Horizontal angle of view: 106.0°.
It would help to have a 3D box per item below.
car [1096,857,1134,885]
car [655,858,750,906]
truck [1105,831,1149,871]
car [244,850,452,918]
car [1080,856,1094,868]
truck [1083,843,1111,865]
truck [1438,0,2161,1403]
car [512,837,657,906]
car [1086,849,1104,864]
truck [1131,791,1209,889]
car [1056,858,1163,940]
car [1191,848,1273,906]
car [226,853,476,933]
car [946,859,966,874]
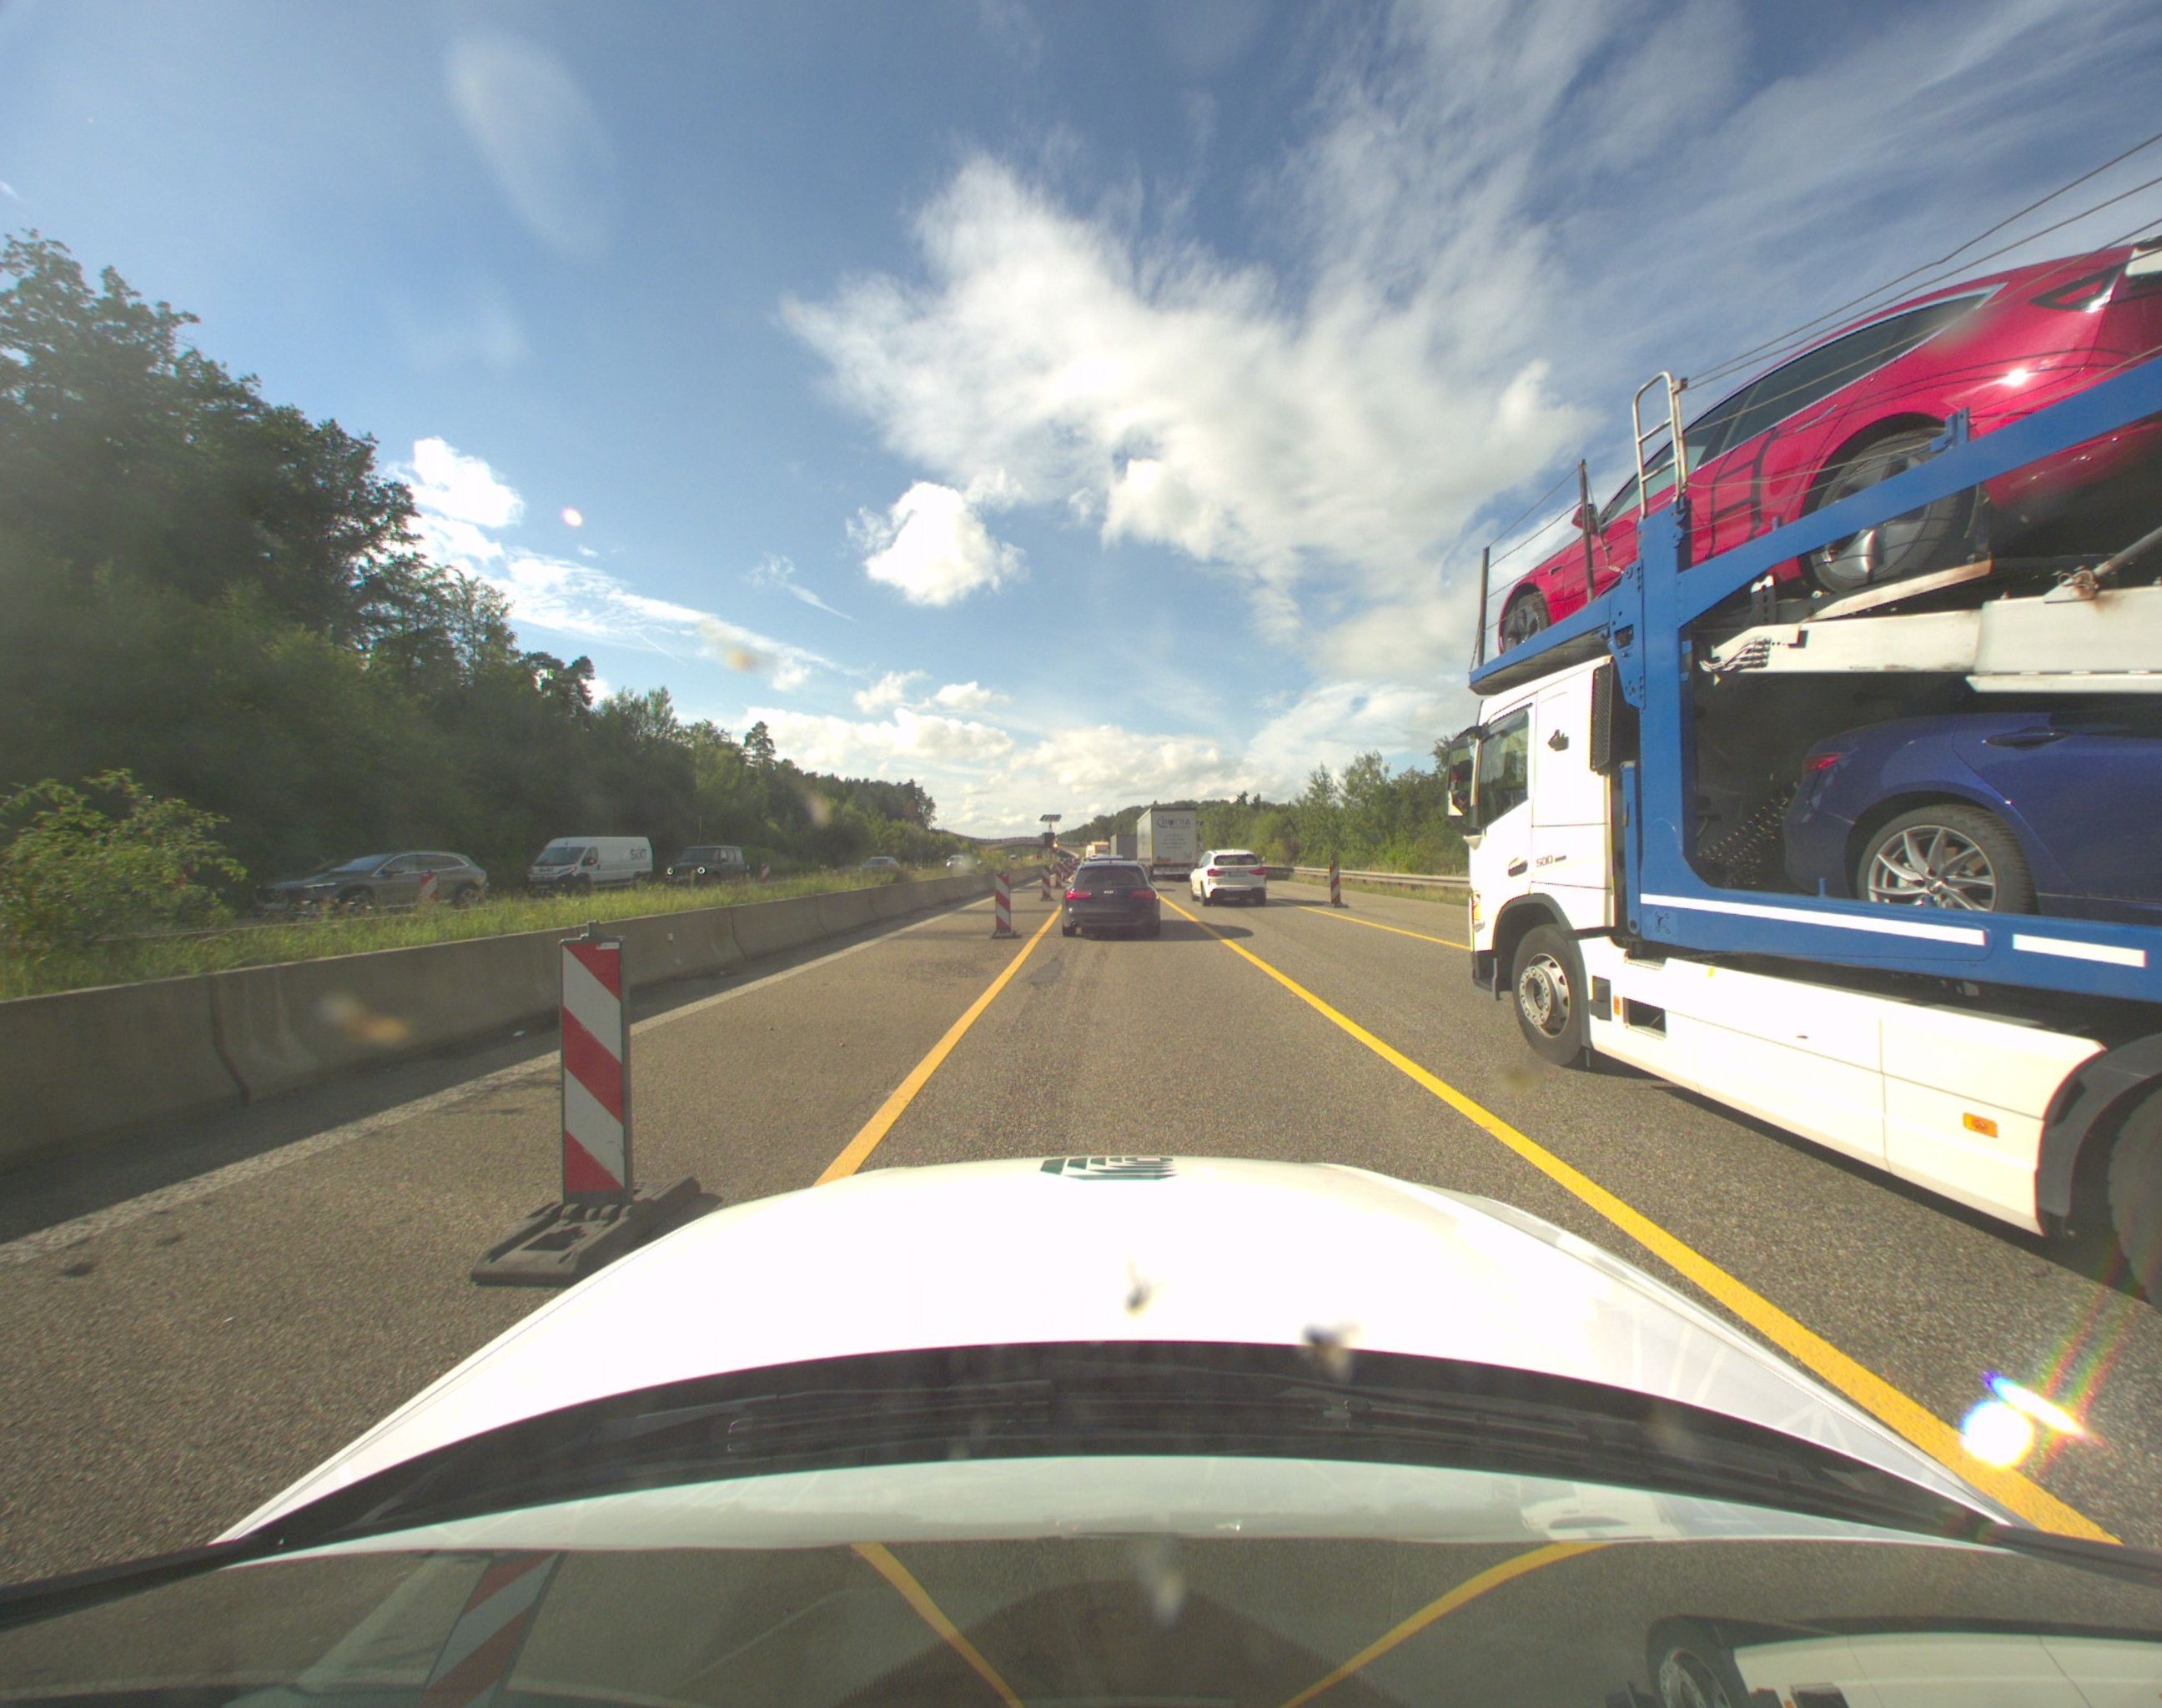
[{"bbox_3d":[1.850,0.912,44.923,1.884,1.446,3.999,0,-1,-1],"label":"car"},{"bbox_3d":[-16.126,1.139,34.990,1.771,1.902,4.619,0,-1,2],"label":"car"},{"bbox_3d":[5.421,-0.314,98.525,4.309,4.600,11.113,0,-1,-2],"label":"truck"},{"bbox_3d":[-21.860,0.836,24.628,1.853,1.853,4.763,0,-1,2],"label":"car"},{"bbox_3d":[0.990,1.384,143.096,1.991,2.014,3.992,0,-1,-6],"label":"car"},{"bbox_3d":[2.965,0.063,156.611,3.652,3.928,11.034,0,-1,-8],"label":"truck"},{"bbox_3d":[4.833,-0.611,3.048,3.746,4.196,7.955,0,-1,2],"label":"truck"},{"bbox_3d":[-20.959,0.709,34.833,2.020,2.684,6.525,0,-1,2],"label":"car"},{"bbox_3d":[1.617,0.272,94.589,1.885,1.643,4.015,0,-1,-2],"label":"car"},{"bbox_3d":[5.347,-0.704,52.649,3.664,5.353,16.205,0,-1,1],"label":"truck"},{"bbox_3d":[0.572,0.818,16.461,1.883,1.446,4.001,0,-1,2],"label":"car"},{"bbox_3d":[4.584,0.668,25.271,1.883,1.643,4.019,0,-1,2],"label":"car"},{"bbox_3d":[-17.306,0.854,19.705,1.771,1.688,4.619,0,-1,2],"label":"car"},{"bbox_3d":[-15.860,1.562,103.446,1.771,1.786,4.366,0,-1,2],"label":"car"}]
